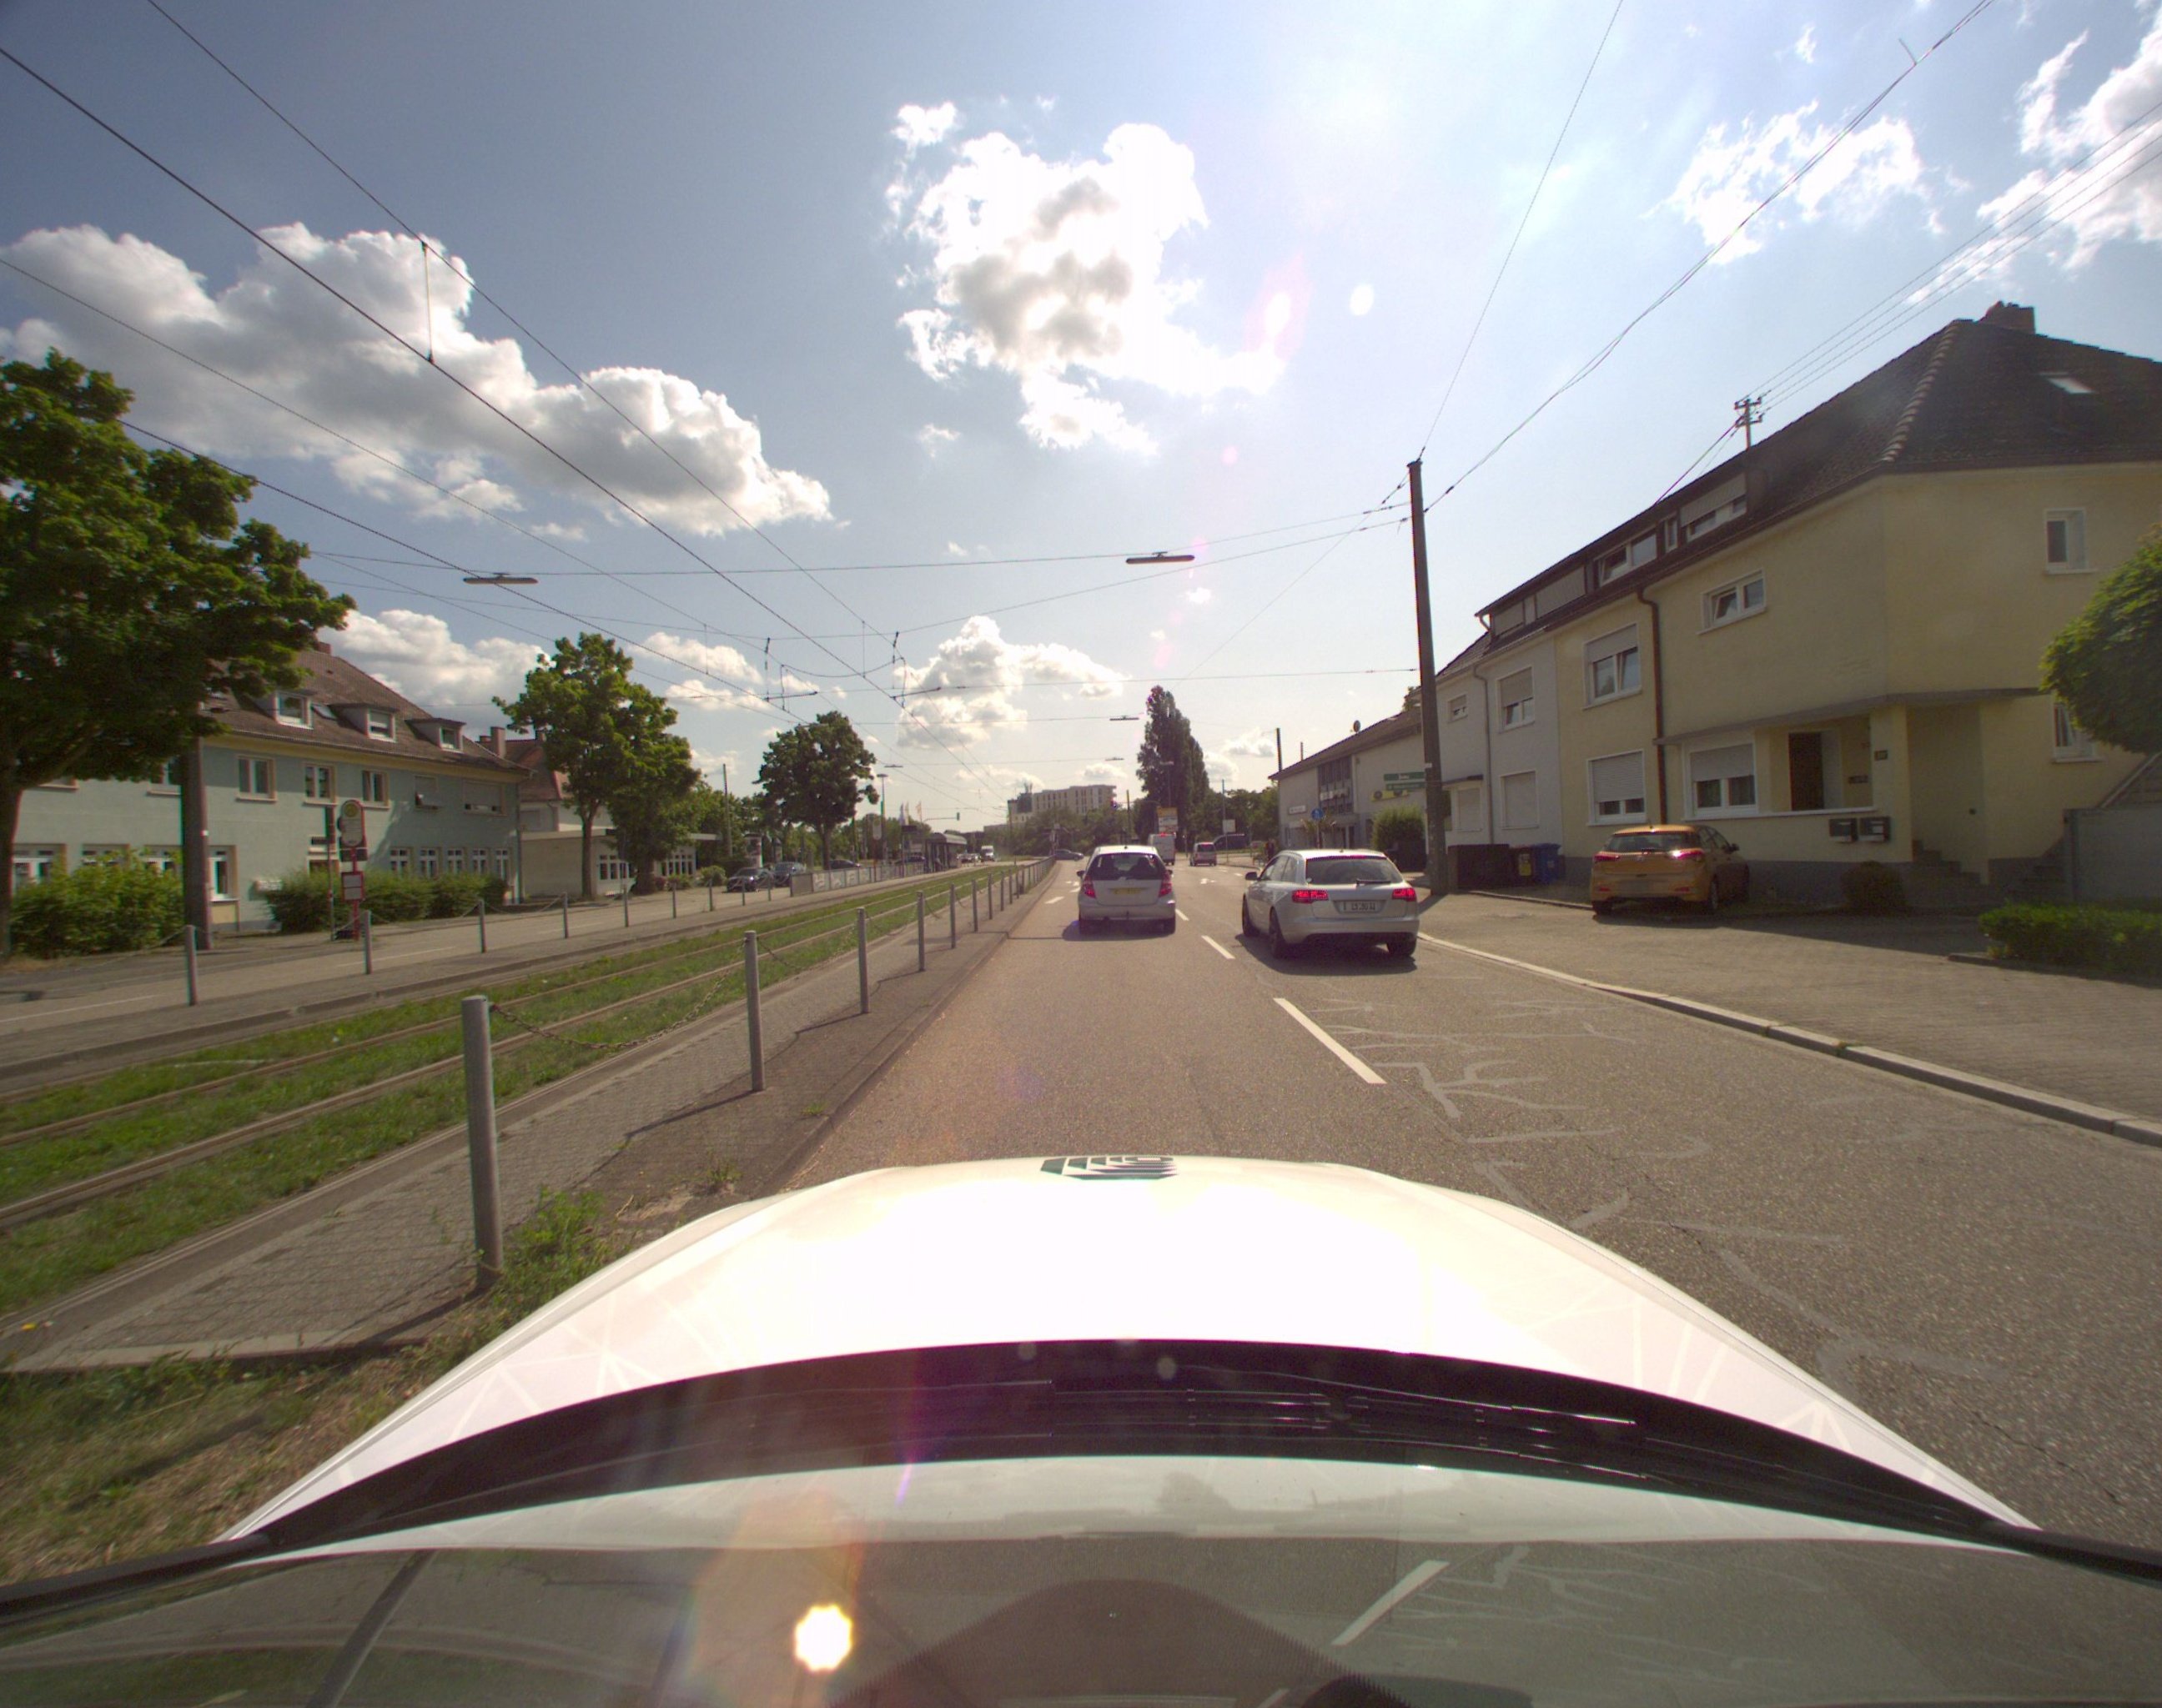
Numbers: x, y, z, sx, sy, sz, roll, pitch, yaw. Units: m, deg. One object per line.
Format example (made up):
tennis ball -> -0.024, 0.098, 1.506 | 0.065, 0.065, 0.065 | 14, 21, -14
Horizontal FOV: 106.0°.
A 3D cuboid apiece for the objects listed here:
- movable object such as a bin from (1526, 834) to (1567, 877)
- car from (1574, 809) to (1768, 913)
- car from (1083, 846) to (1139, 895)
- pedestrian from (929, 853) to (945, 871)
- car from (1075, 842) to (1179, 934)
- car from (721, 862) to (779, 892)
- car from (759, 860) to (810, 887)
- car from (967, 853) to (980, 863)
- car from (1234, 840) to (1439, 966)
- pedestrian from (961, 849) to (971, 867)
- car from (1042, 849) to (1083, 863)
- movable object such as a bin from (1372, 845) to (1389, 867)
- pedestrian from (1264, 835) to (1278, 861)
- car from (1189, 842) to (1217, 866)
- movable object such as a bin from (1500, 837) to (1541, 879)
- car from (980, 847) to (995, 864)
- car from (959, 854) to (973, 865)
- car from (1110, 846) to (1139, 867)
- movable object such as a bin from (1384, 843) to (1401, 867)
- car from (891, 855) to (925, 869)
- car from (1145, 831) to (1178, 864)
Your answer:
movable object such as a bin -> 11.948, 0.043, 20.907 | 0.643, 1.055, 0.659 | -2, 0, -1
car -> 10.546, 0.043, 14.452 | 4.116, 1.457, 1.893 | -5, 3, -41
car -> 1.048, 0.500, 27.920 | 1.732, 1.492, 4.633 | -2, 1, 3
pedestrian -> -11.507, 0.615, 65.096 | 1.055, 1.376, 0.860 | -1, 0, -1
car -> 0.882, 0.557, 16.098 | 1.780, 1.576, 4.097 | -1, 1, 2
car -> -19.809, 1.349, 48.895 | 1.780, 1.584, 3.931 | -3, 1, 1
car -> -19.986, 1.283, 55.124 | 2.058, 1.614, 4.743 | -3, 1, -6
car -> -17.867, 0.617, 135.639 | 1.799, 1.541, 4.157 | -1, 0, -5
car -> 3.553, 0.579, 12.251 | 1.847, 1.492, 4.540 | -2, 1, 3
pedestrian -> -11.695, 0.414, 82.757 | 0.808, 1.795, 0.705 | -3, 0, -14
car -> -2.193, 0.233, 98.061 | 4.844, 1.660, 2.001 | -1, 0, 2
movable object such as a bin -> 12.250, 0.081, 33.314 | 0.444, 0.895, 0.545 | -3, 0, -6
pedestrian -> 13.470, -0.451, 57.839 | 0.719, 1.782, 0.703 | -5, 0, 1
car -> 9.504, 0.020, 63.614 | 1.876, 1.731, 4.101 | -3, 0, 6
movable object such as a bin -> 11.248, 0.094, 20.852 | 0.636, 1.047, 0.685 | -2, 0, -1
car -> -14.624, 0.189, 128.220 | 1.989, 2.605, 4.873 | -1, 0, -3
car -> -17.869, 0.843, 126.792 | 1.893, 1.541, 3.723 | -1, 0, -5
car -> 3.210, 0.155, 60.618 | 1.864, 1.419, 4.098 | -1, 1, -1
movable object such as a bin -> 12.751, 0.049, 33.325 | 0.440, 0.935, 0.549 | -3, 0, -6
car -> -24.763, 1.134, 116.541 | 4.336, 1.738, 2.001 | -3, 0, 2
car -> 6.641, -0.532, 67.883 | 2.035, 2.557, 5.229 | -3, 1, -1
